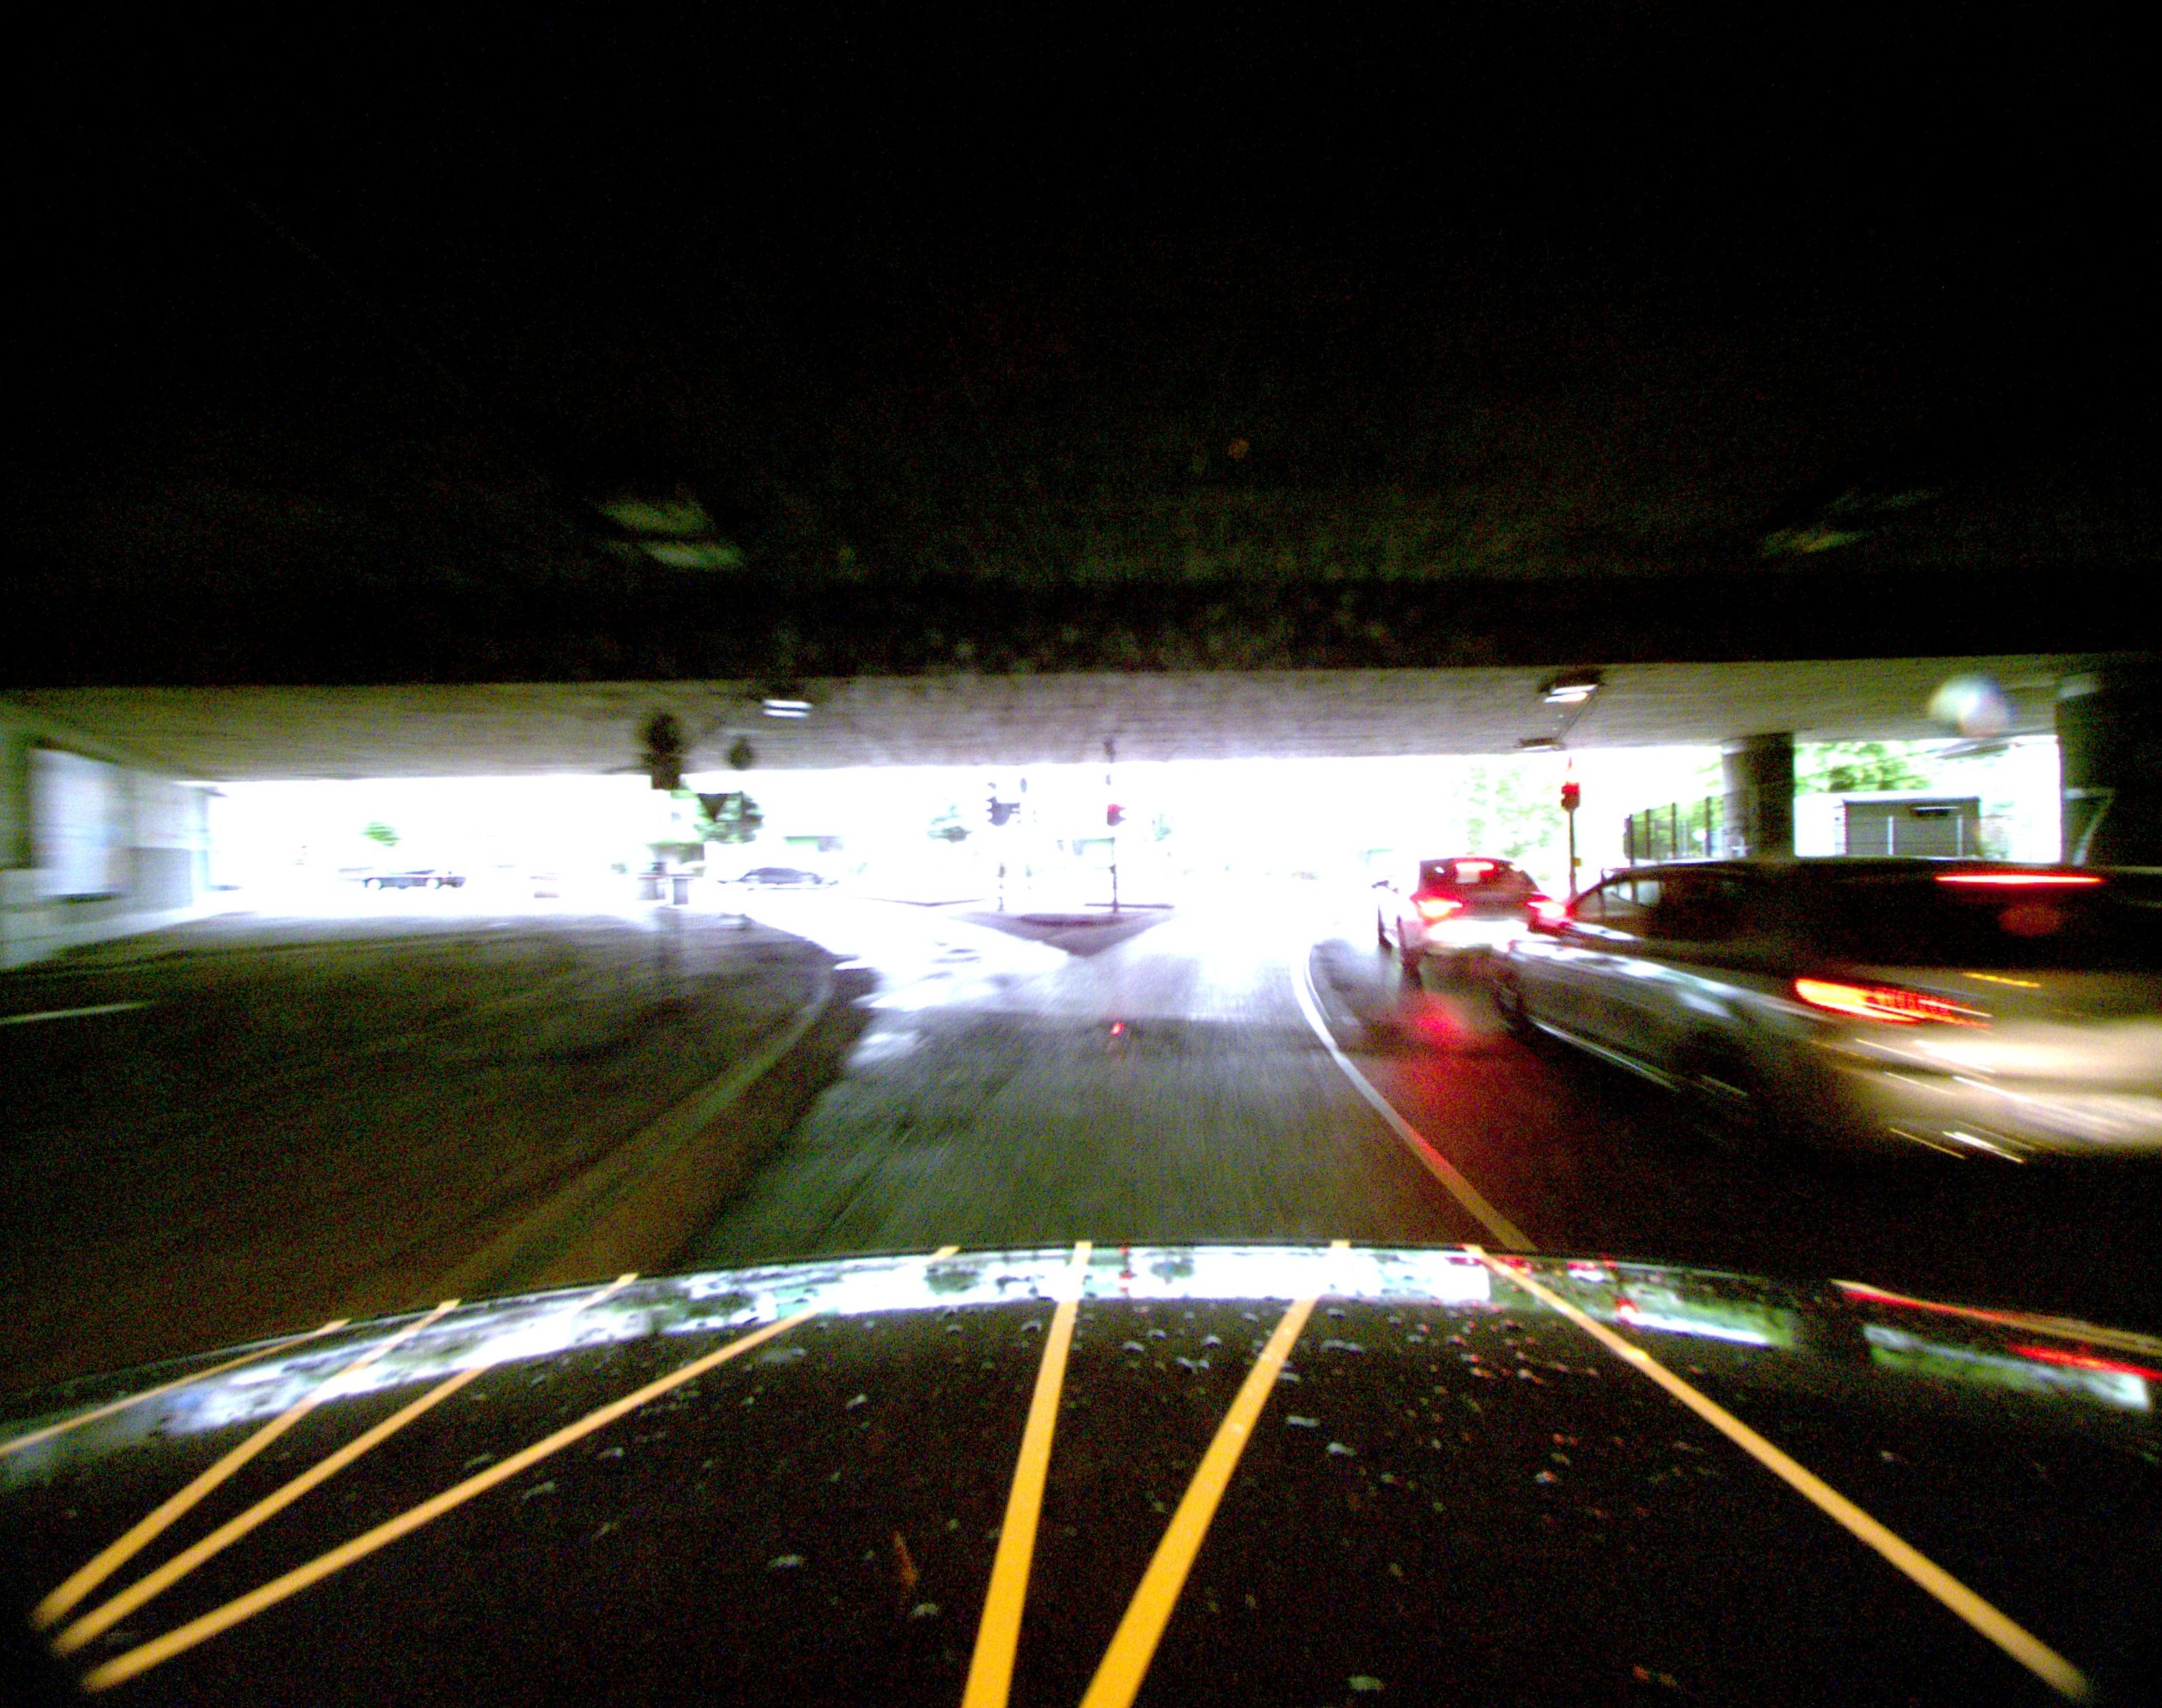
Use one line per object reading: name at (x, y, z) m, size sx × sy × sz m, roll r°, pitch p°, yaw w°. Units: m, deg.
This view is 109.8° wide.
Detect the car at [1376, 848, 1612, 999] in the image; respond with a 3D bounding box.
car at (5.289, 0.730, 10.424) m, size 1.996 × 1.521 × 4.505 m, roll -1°, pitch 1°, yaw 17°

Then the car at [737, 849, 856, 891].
car at (-11.592, 0.633, 31.050) m, size 4.226 × 1.571 × 1.771 m, roll 0°, pitch 3°, yaw 14°

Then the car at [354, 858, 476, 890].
car at (-31.369, 0.955, 35.909) m, size 4.003 × 1.449 × 1.644 m, roll 0°, pitch -2°, yaw -17°

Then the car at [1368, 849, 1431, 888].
car at (13.475, 0.604, 32.030) m, size 1.704 × 1.548 × 4.009 m, roll -1°, pitch -1°, yaw 34°

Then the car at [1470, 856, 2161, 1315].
car at (4.099, 0.795, 4.557) m, size 1.997 × 1.456 × 4.108 m, roll -1°, pitch 1°, yaw 10°

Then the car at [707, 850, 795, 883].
car at (-16.151, 0.606, 37.277) m, size 3.628 × 1.548 × 1.645 m, roll 0°, pitch -1°, yaw -6°
